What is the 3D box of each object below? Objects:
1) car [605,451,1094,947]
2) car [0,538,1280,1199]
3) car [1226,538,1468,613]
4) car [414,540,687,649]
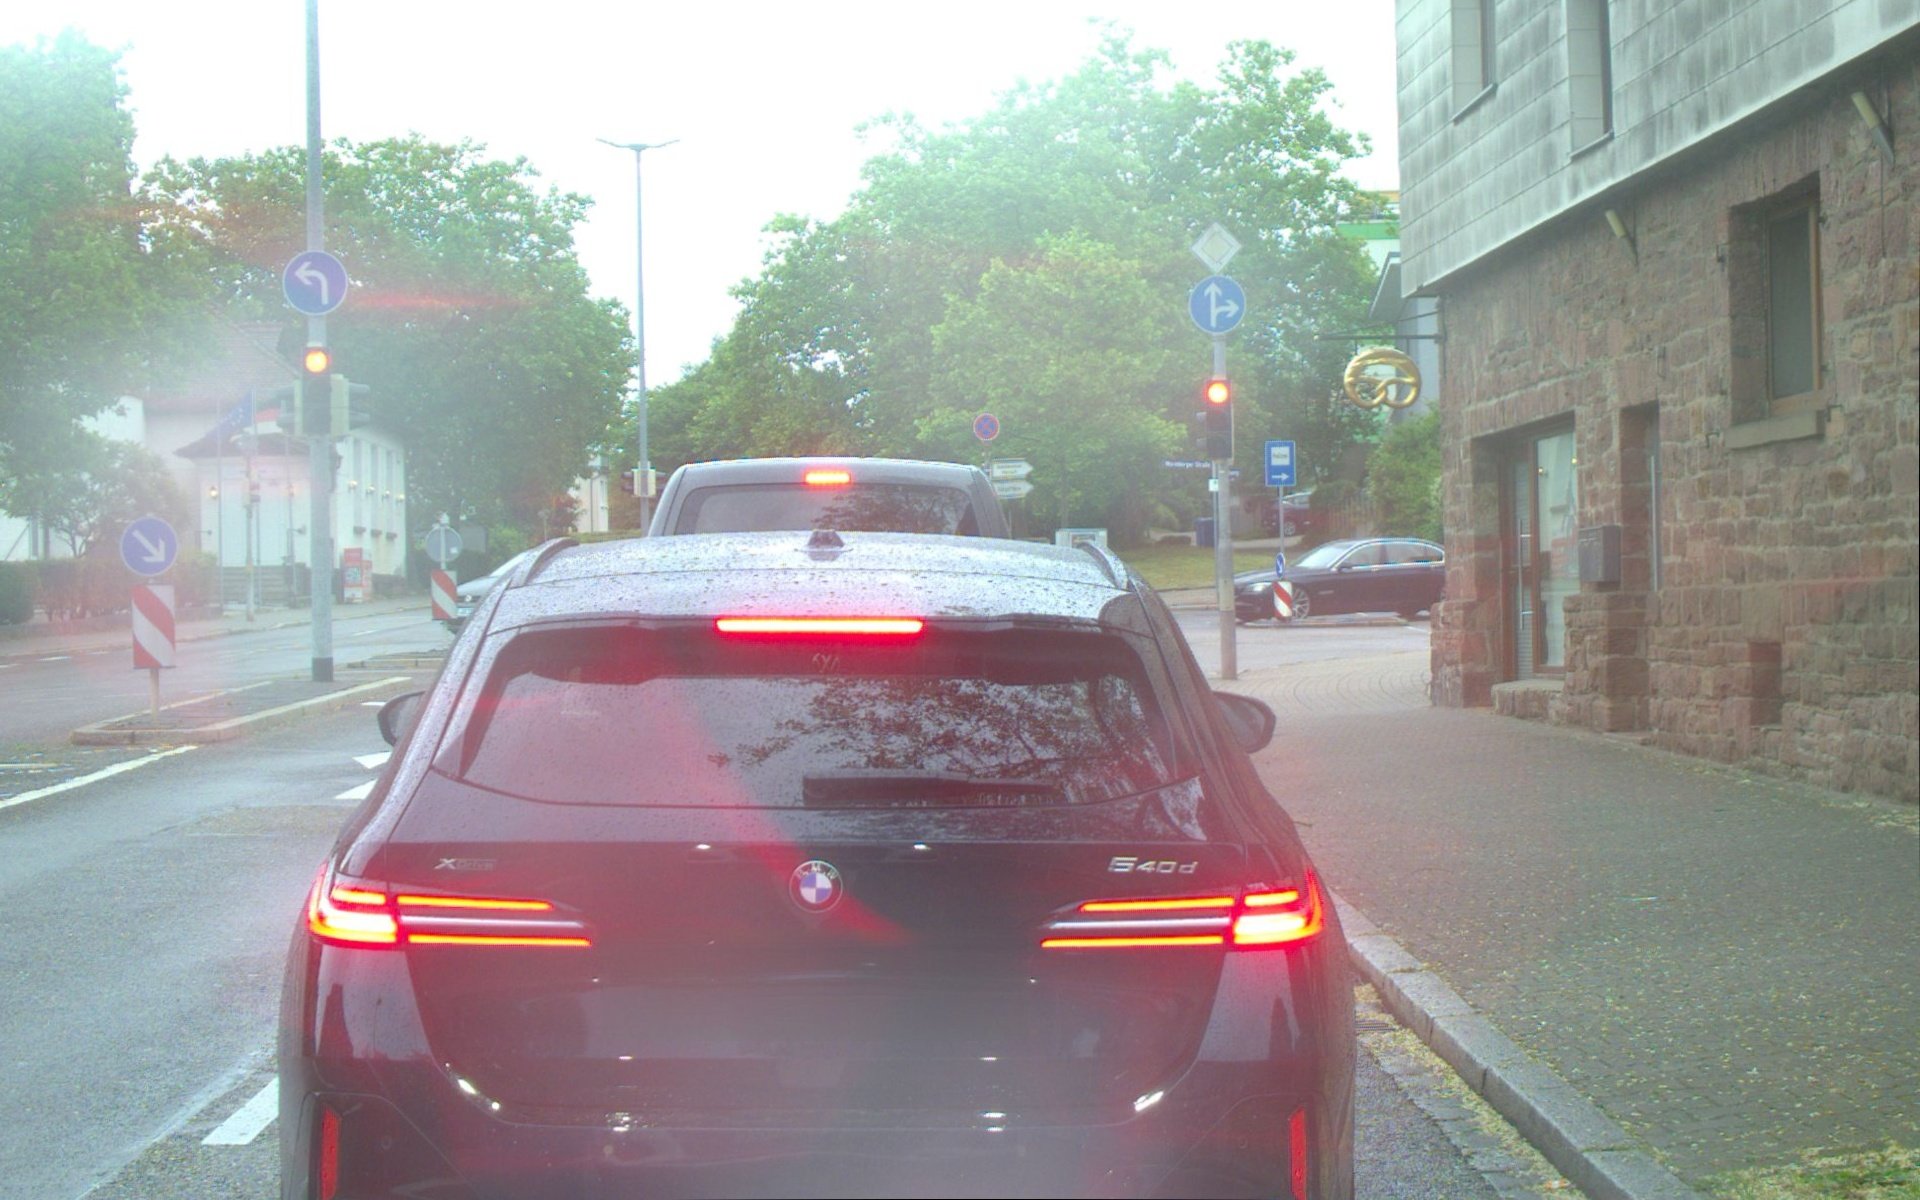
[{"bbox_3d":[-0.498,0.319,14.631,1.783,1.811,4.001,0,1,-3],"label":"car"},{"bbox_3d":[-0.672,0.601,7.428,2.064,1.441,4.484,0,1,-3],"label":"car"},{"bbox_3d":[6.889,-0.451,61.438,3.986,1.284,1.849,0,1,-5],"label":"car"},{"bbox_3d":[-5.971,-0.116,50.498,1.997,1.504,3.948,0,1,31],"label":"car"}]
